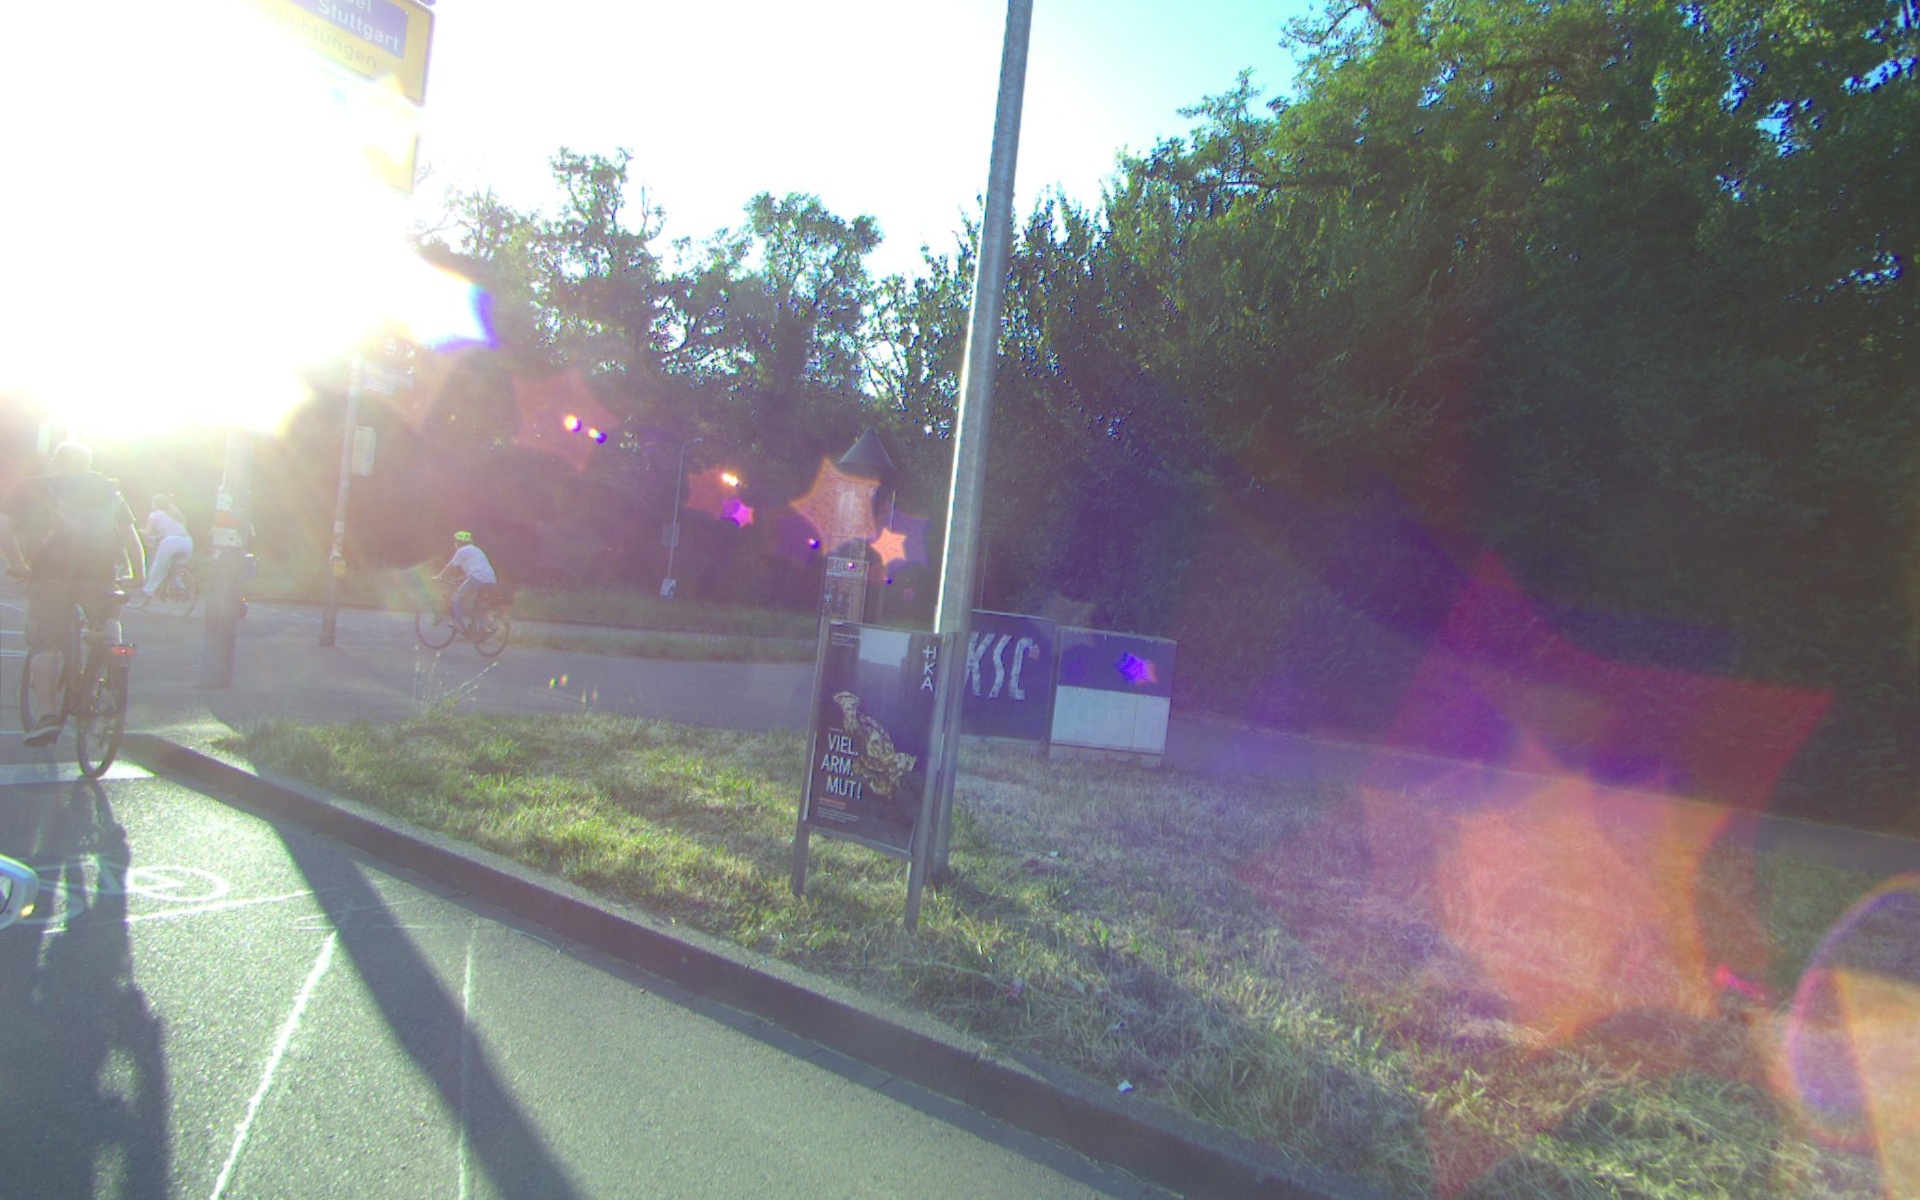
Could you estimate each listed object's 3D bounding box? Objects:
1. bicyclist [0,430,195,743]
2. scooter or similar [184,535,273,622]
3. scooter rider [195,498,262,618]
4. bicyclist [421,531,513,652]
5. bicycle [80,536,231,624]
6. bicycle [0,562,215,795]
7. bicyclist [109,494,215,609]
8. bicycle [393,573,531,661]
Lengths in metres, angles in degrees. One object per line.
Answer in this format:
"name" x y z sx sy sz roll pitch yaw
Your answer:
"bicyclist" -5.154 -0.074 5.904 0.786 1.686 0.699 7 -1 36
"scooter or similar" -11.393 -0.337 15.667 1.399 1.204 0.562 6 0 33
"scooter rider" -11.422 -0.645 15.705 0.497 1.788 0.566 6 0 32
"bicyclist" -6.936 -0.115 14.159 0.882 1.589 0.555 7 1 18
"bicycle" -11.781 -0.298 14.726 1.979 1.019 0.773 7 0 22
"bicycle" -5.137 0.400 5.849 1.797 1.075 0.699 6 -1 36
"bicyclist" -11.643 -0.696 14.690 0.841 1.536 0.762 7 0 22
"bicycle" -7.018 0.238 14.174 1.768 1.027 0.565 7 0 18
